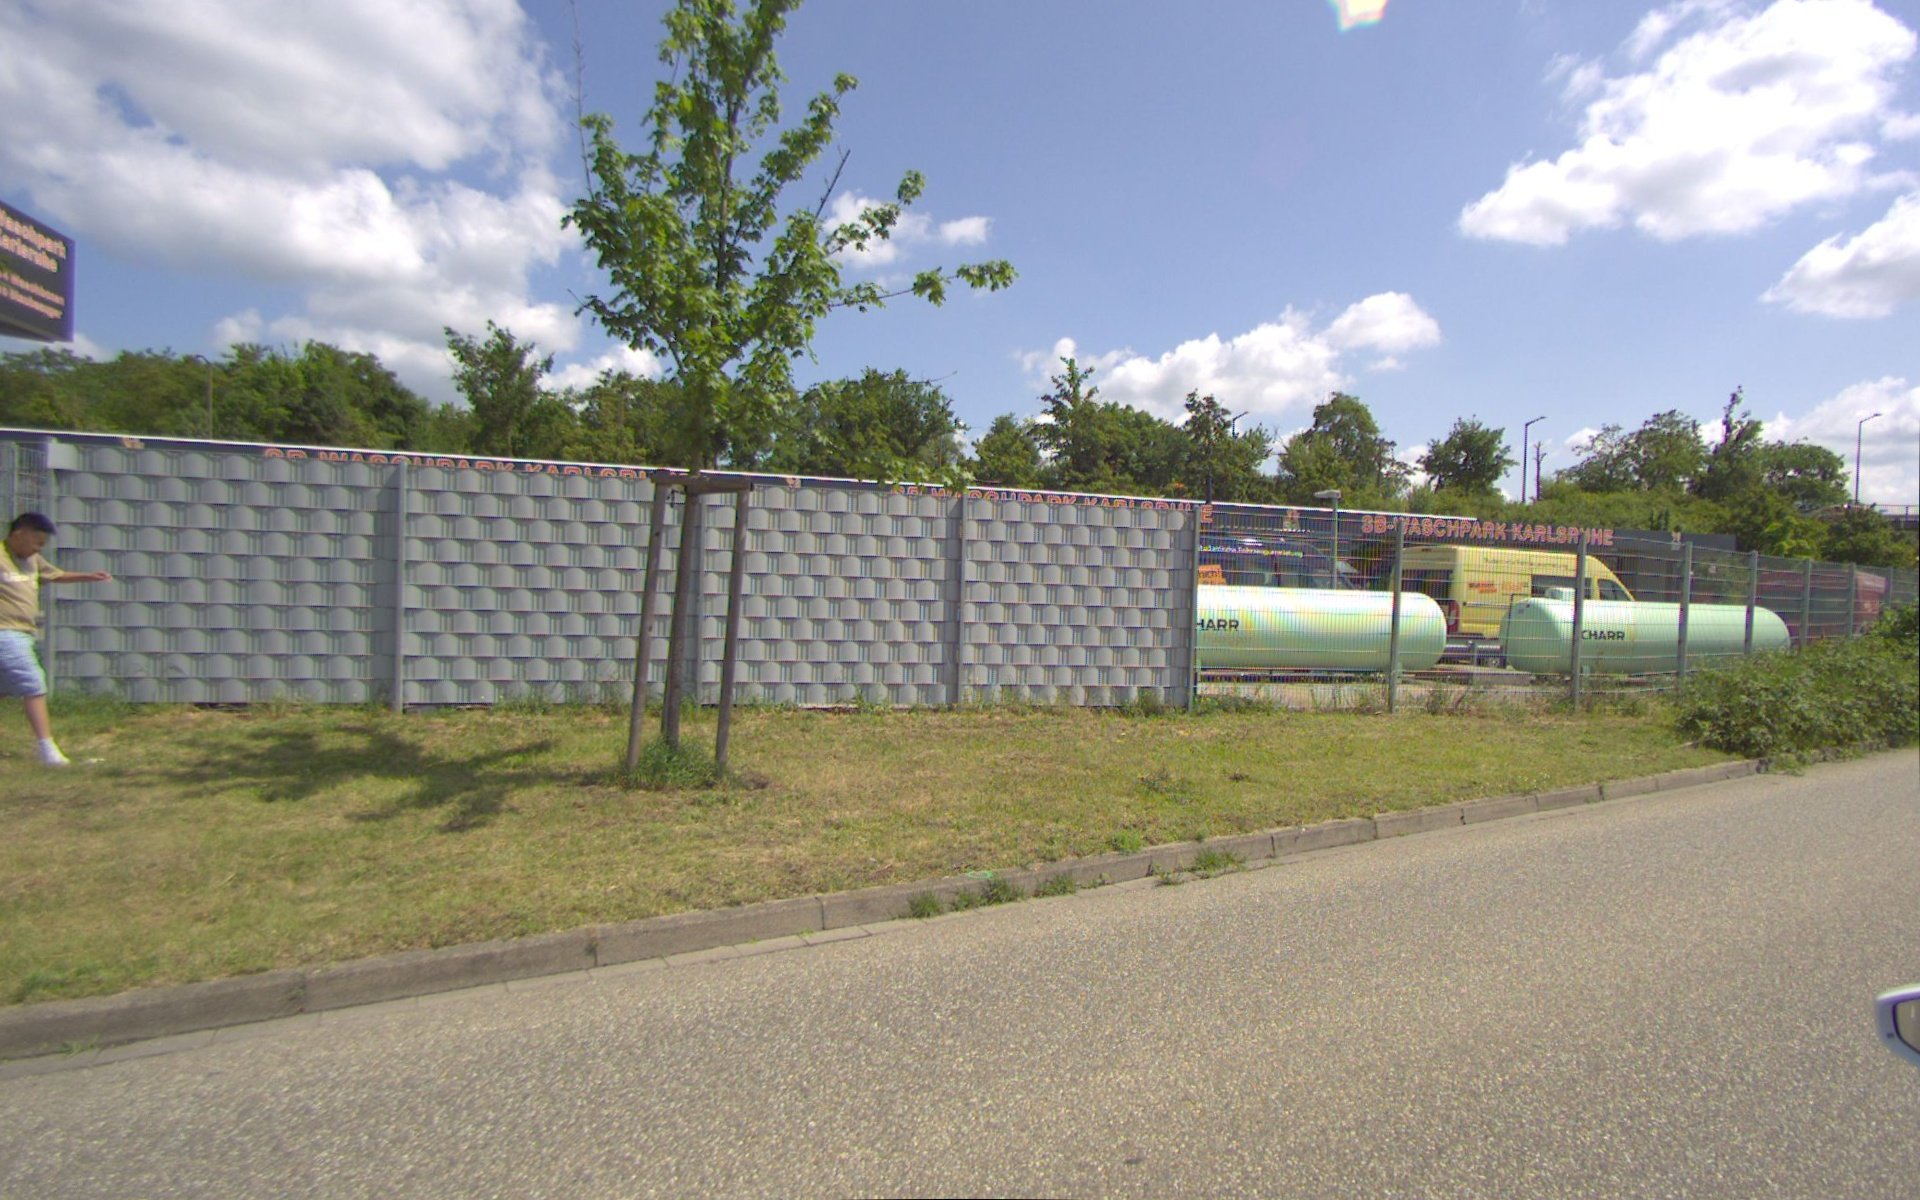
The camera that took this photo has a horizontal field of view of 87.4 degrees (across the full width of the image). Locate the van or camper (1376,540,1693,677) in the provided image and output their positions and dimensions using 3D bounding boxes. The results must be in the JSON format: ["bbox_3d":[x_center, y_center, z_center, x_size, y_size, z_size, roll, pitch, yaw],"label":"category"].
[{"bbox_3d":[11.657,0.200,20.502,5.564,2.458,2.243,2,0,-14],"label":"van or camper"}]

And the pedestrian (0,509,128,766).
[{"bbox_3d":[-6.019,0.219,6.415,0.802,1.562,0.738,2,0,-14],"label":"pedestrian"}]

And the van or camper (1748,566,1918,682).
[{"bbox_3d":[21.499,0.587,24.638,5.652,2.547,2.171,1,-1,-39],"label":"van or camper"}]

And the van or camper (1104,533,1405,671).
[{"bbox_3d":[5.390,0.064,18.545,5.021,2.246,1.875,2,0,-14],"label":"van or camper"}]

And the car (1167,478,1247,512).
[{"bbox_3d":[17.516,-7.451,71.475,5.230,2.040,2.001,1,-2,2],"label":"car"}]
